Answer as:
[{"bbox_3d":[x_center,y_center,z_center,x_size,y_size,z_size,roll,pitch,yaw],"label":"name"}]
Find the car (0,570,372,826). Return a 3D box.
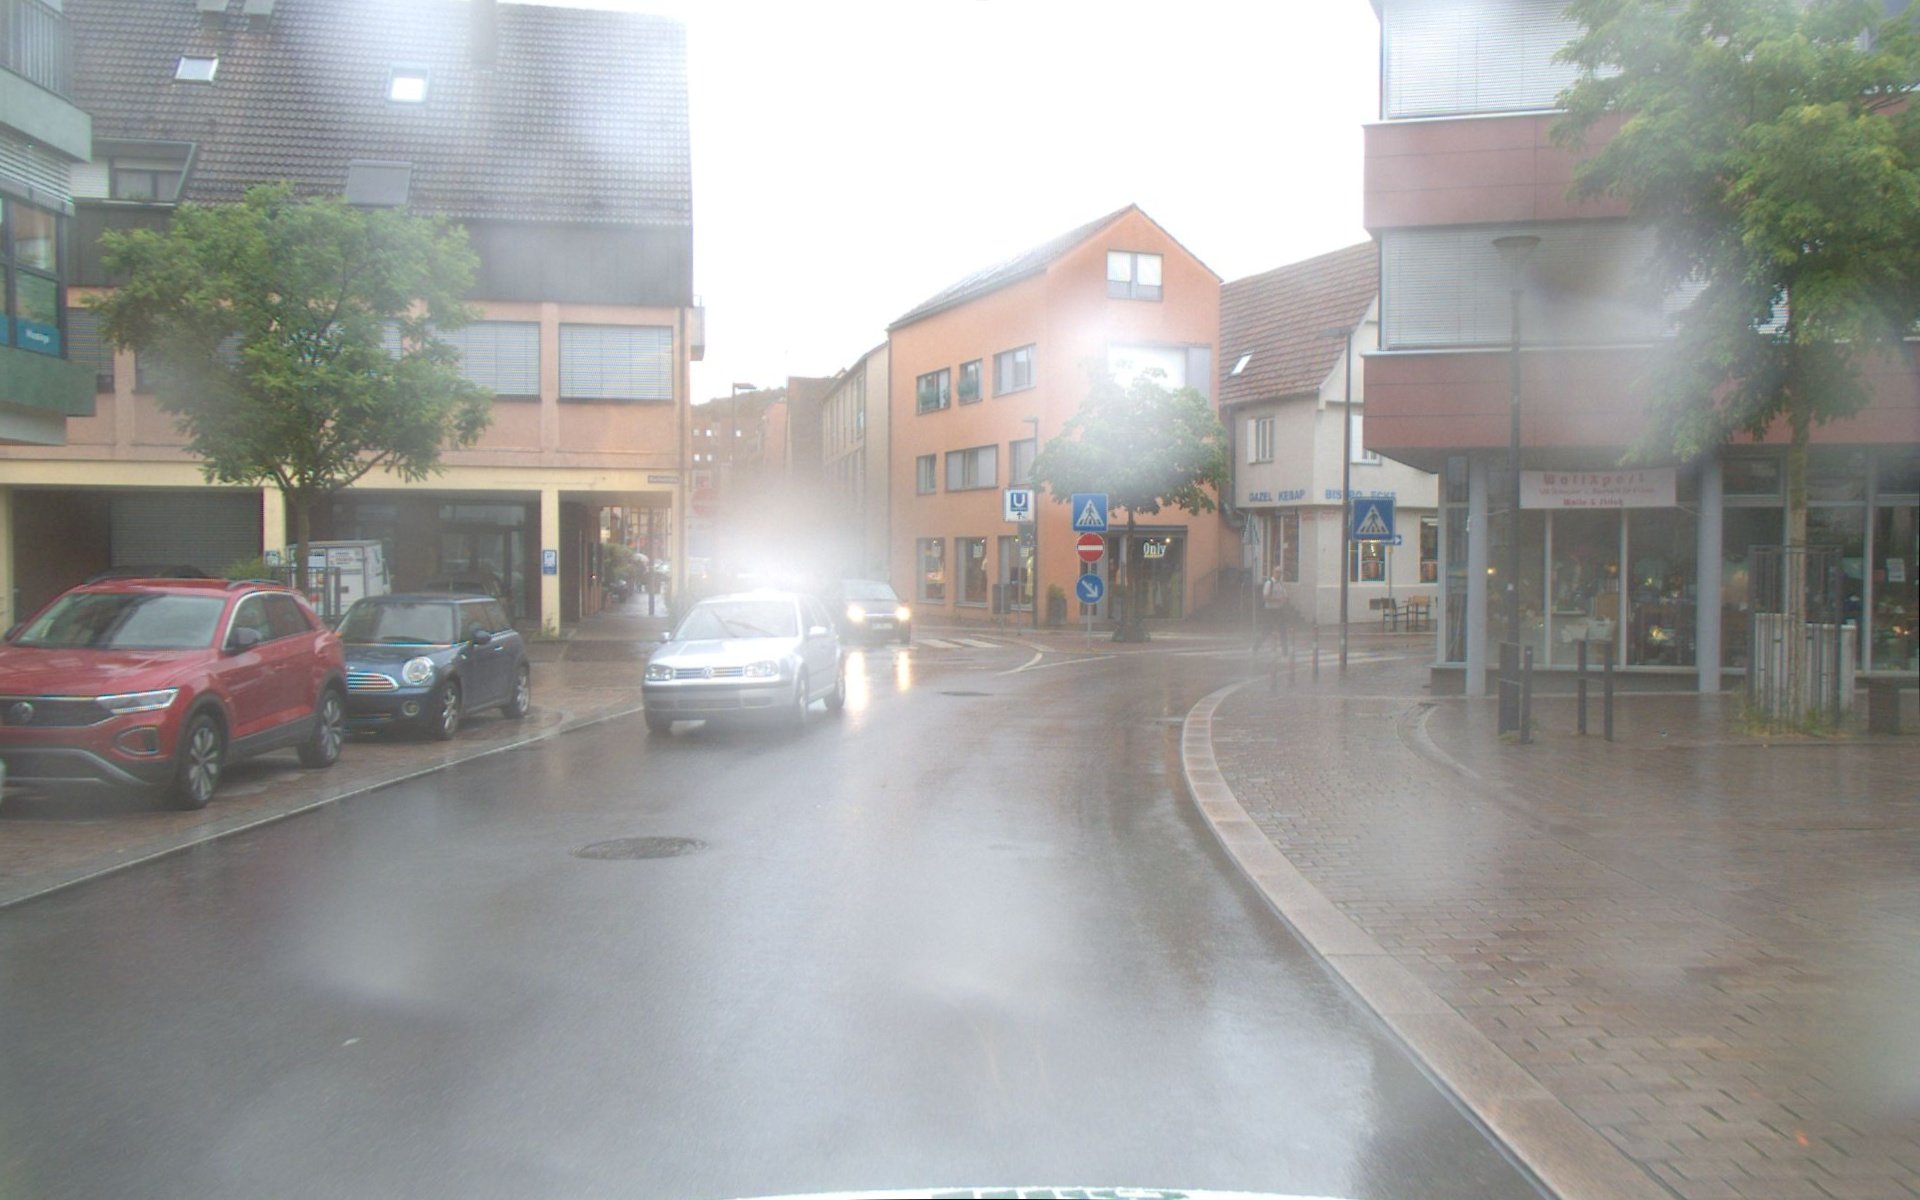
[{"bbox_3d":[-6.029,0.615,12.499,1.750,1.604,4.106,-1,0,-1],"label":"car"}]

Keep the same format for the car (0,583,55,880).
[{"bbox_3d":[-5.780,0.693,6.775,1.750,1.525,4.453,-1,0,-1],"label":"car"}]

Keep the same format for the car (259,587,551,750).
[{"bbox_3d":[-5.710,0.627,17.528,1.679,1.483,3.911,1,1,1],"label":"car"}]

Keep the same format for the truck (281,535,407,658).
[{"bbox_3d":[-11.984,-0.128,32.355,1.567,2.098,3.188,-2,5,-8],"label":"truck"}]

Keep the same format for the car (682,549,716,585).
[{"bbox_3d":[-15.909,-1.990,101.025,1.956,2.048,4.355,-2,1,-8],"label":"car"}]

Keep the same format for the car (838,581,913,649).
[{"bbox_3d":[-2.036,0.316,39.011,1.616,1.471,3.980,-1,1,-4],"label":"car"}]

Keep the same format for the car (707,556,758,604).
[{"bbox_3d":[-11.020,-0.974,79.958,2.067,2.184,4.853,-2,1,-12],"label":"car"}]

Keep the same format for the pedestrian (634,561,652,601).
[{"bbox_3d":[-16.352,-1.005,85.296,0.820,2.049,0.850,0,1,-16],"label":"pedestrian"}]

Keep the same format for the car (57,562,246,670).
[{"bbox_3d":[-15.069,0.237,31.064,1.776,1.645,3.999,0,5,-4],"label":"car"}]

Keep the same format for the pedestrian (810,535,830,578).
[{"bbox_3d":[-6.647,-2.051,78.742,0.852,2.049,0.705,0,1,-14],"label":"pedestrian"}]

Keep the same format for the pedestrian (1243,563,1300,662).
[{"bbox_3d":[6.230,0.232,33.104,0.849,1.948,0.752,0,1,45],"label":"pedestrian"}]

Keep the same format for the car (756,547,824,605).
[{"bbox_3d":[-6.858,-0.956,66.417,2.068,2.184,4.851,-2,1,-13],"label":"car"}]

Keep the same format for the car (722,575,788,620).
[{"bbox_3d":[-6.980,-0.115,56.092,1.958,1.466,4.153,0,1,-11],"label":"car"}]

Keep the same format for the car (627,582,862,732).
[{"bbox_3d":[-2.303,0.555,18.704,1.752,1.442,4.032,-2,1,5],"label":"car"}]
